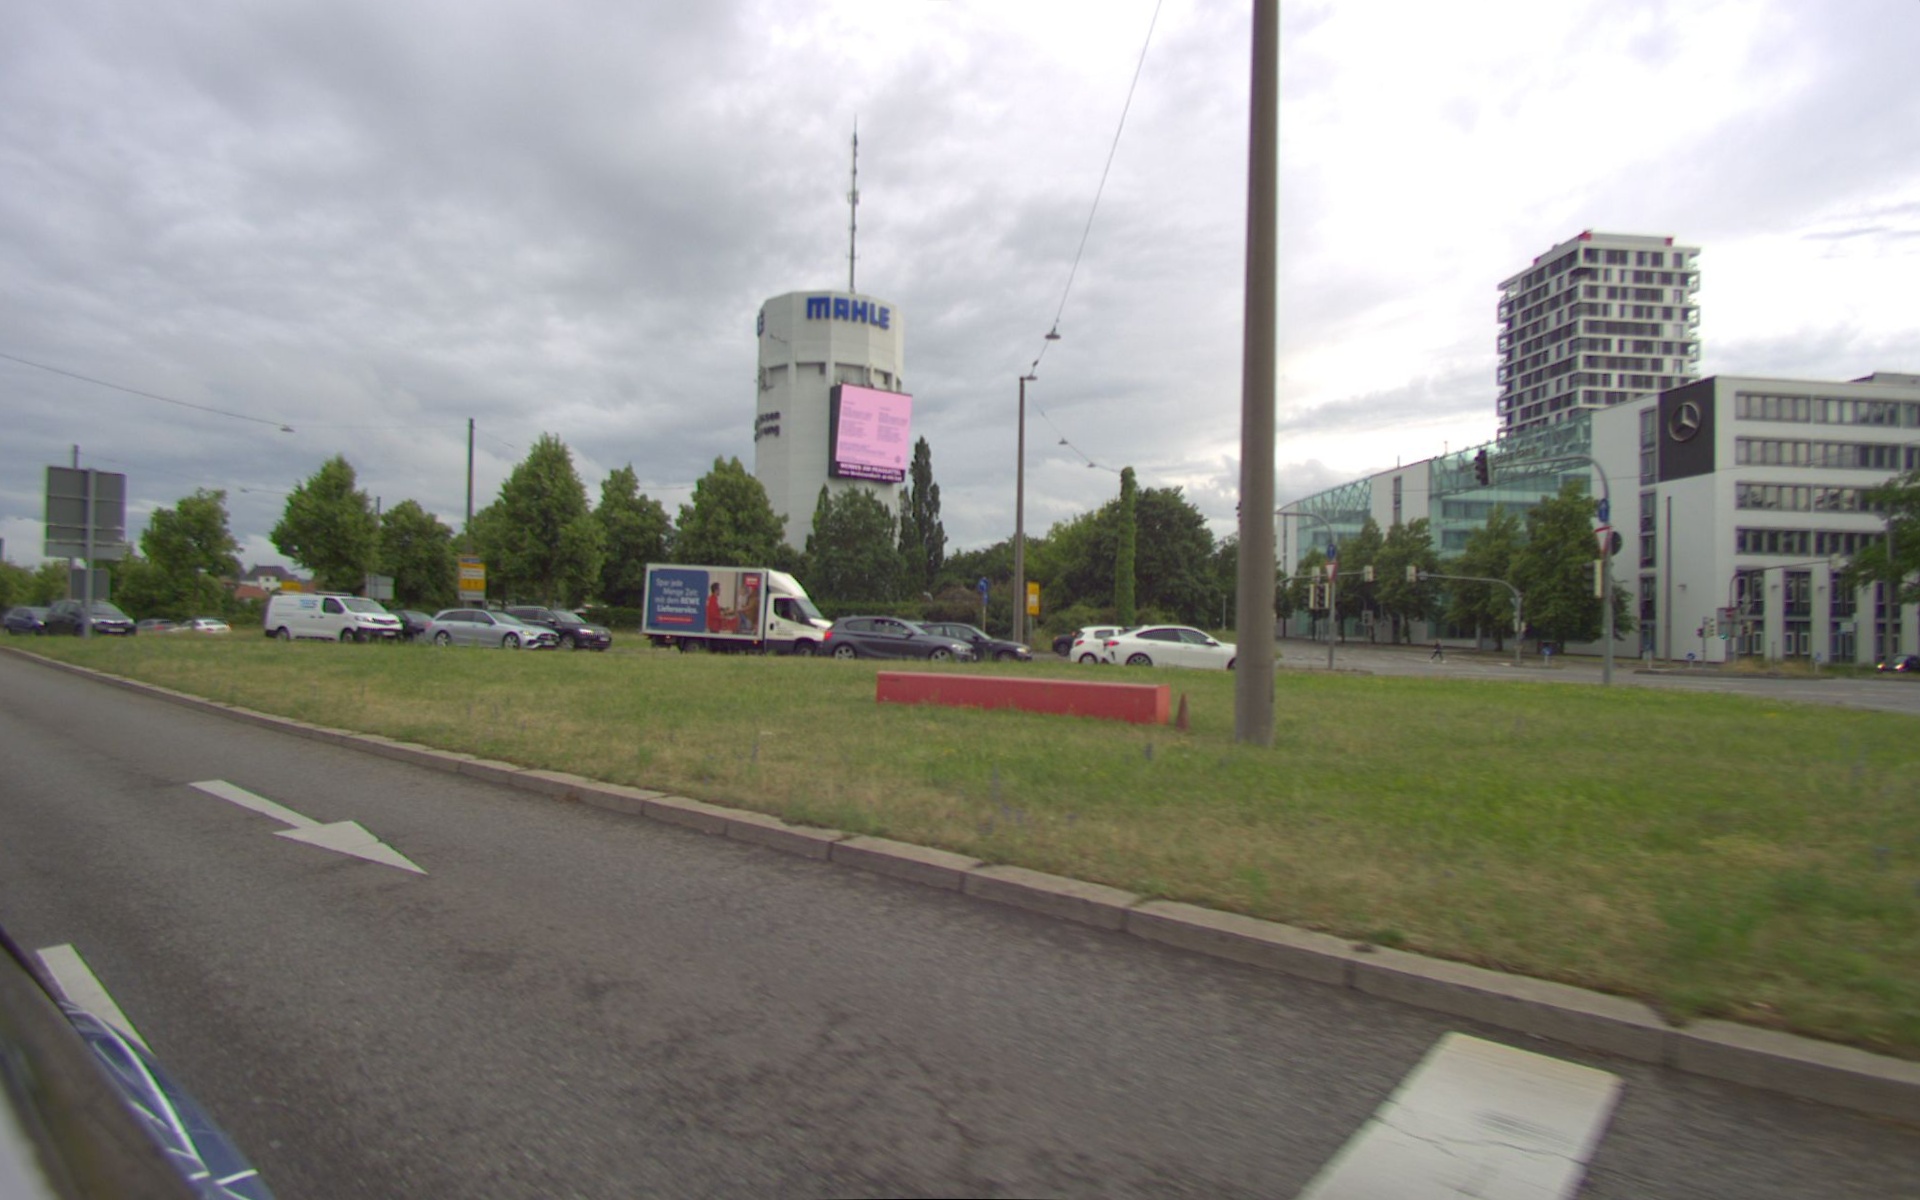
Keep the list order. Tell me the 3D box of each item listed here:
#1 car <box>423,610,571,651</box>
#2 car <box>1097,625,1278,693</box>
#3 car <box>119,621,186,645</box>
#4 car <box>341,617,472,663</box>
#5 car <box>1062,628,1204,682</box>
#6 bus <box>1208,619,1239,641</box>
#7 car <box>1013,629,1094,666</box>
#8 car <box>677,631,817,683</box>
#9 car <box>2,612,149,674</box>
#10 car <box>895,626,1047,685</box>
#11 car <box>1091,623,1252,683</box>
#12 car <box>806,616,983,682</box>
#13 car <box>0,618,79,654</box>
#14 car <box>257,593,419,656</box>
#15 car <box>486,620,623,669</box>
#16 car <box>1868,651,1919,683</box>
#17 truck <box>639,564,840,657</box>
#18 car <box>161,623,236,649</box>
[{"bbox_3d":[-15.919,1.018,34.808,4.492,1.320,1.989,-1,0,18],"label":"car"},{"bbox_3d":[6.008,1.536,27.165,4.463,1.695,1.997,0,0,5],"label":"car"},{"bbox_3d":[-59.768,2.459,74.949,3.964,1.674,1.990,-1,0,16],"label":"car"},{"bbox_3d":[-21.636,1.528,39.615,4.483,1.695,1.989,-1,0,18],"label":"car"},{"bbox_3d":[5.760,1.830,34.181,4.459,1.695,1.999,-1,0,2],"label":"car"},{"bbox_3d":[42.684,4.834,164.328,2.821,3.352,8.884,-1,0,2],"label":"bus"},{"bbox_3d":[4.960,2.507,53.615,3.973,1.831,1.805,-1,0,22],"label":"car"},{"bbox_3d":[-7.524,2.004,35.955,4.471,1.695,1.994,-1,0,10],"label":"car"},{"bbox_3d":[-33.215,1.568,38.020,5.132,2.197,1.986,-1,0,21],"label":"car"},{"bbox_3d":[0.381,1.677,31.207,4.468,1.695,1.995,-1,0,8],"label":"car"},{"bbox_3d":[6.390,1.596,30.953,4.458,1.695,2.000,-1,0,1],"label":"car"},{"bbox_3d":[-1.738,1.306,27.615,4.472,1.695,1.993,-1,0,11],"label":"car"},{"bbox_3d":[-46.699,1.762,50.728,4.489,1.695,1.986,-1,0,22],"label":"car"},{"bbox_3d":[-22.875,0.873,37.233,5.269,2.197,2.359,-1,0,21],"label":"car"},{"bbox_3d":[-15.041,1.614,37.568,4.483,1.695,1.989,-1,0,18],"label":"car"},{"bbox_3d":[55.936,3.955,60.022,3.649,1.688,1.906,-1,0,-28],"label":"car"},{"bbox_3d":[-7.043,0.352,32.558,5.963,2.856,2.125,-1,0,9],"label":"truck"},{"bbox_3d":[-51.418,2.413,68.337,3.960,1.674,1.992,-1,0,13],"label":"car"}]
